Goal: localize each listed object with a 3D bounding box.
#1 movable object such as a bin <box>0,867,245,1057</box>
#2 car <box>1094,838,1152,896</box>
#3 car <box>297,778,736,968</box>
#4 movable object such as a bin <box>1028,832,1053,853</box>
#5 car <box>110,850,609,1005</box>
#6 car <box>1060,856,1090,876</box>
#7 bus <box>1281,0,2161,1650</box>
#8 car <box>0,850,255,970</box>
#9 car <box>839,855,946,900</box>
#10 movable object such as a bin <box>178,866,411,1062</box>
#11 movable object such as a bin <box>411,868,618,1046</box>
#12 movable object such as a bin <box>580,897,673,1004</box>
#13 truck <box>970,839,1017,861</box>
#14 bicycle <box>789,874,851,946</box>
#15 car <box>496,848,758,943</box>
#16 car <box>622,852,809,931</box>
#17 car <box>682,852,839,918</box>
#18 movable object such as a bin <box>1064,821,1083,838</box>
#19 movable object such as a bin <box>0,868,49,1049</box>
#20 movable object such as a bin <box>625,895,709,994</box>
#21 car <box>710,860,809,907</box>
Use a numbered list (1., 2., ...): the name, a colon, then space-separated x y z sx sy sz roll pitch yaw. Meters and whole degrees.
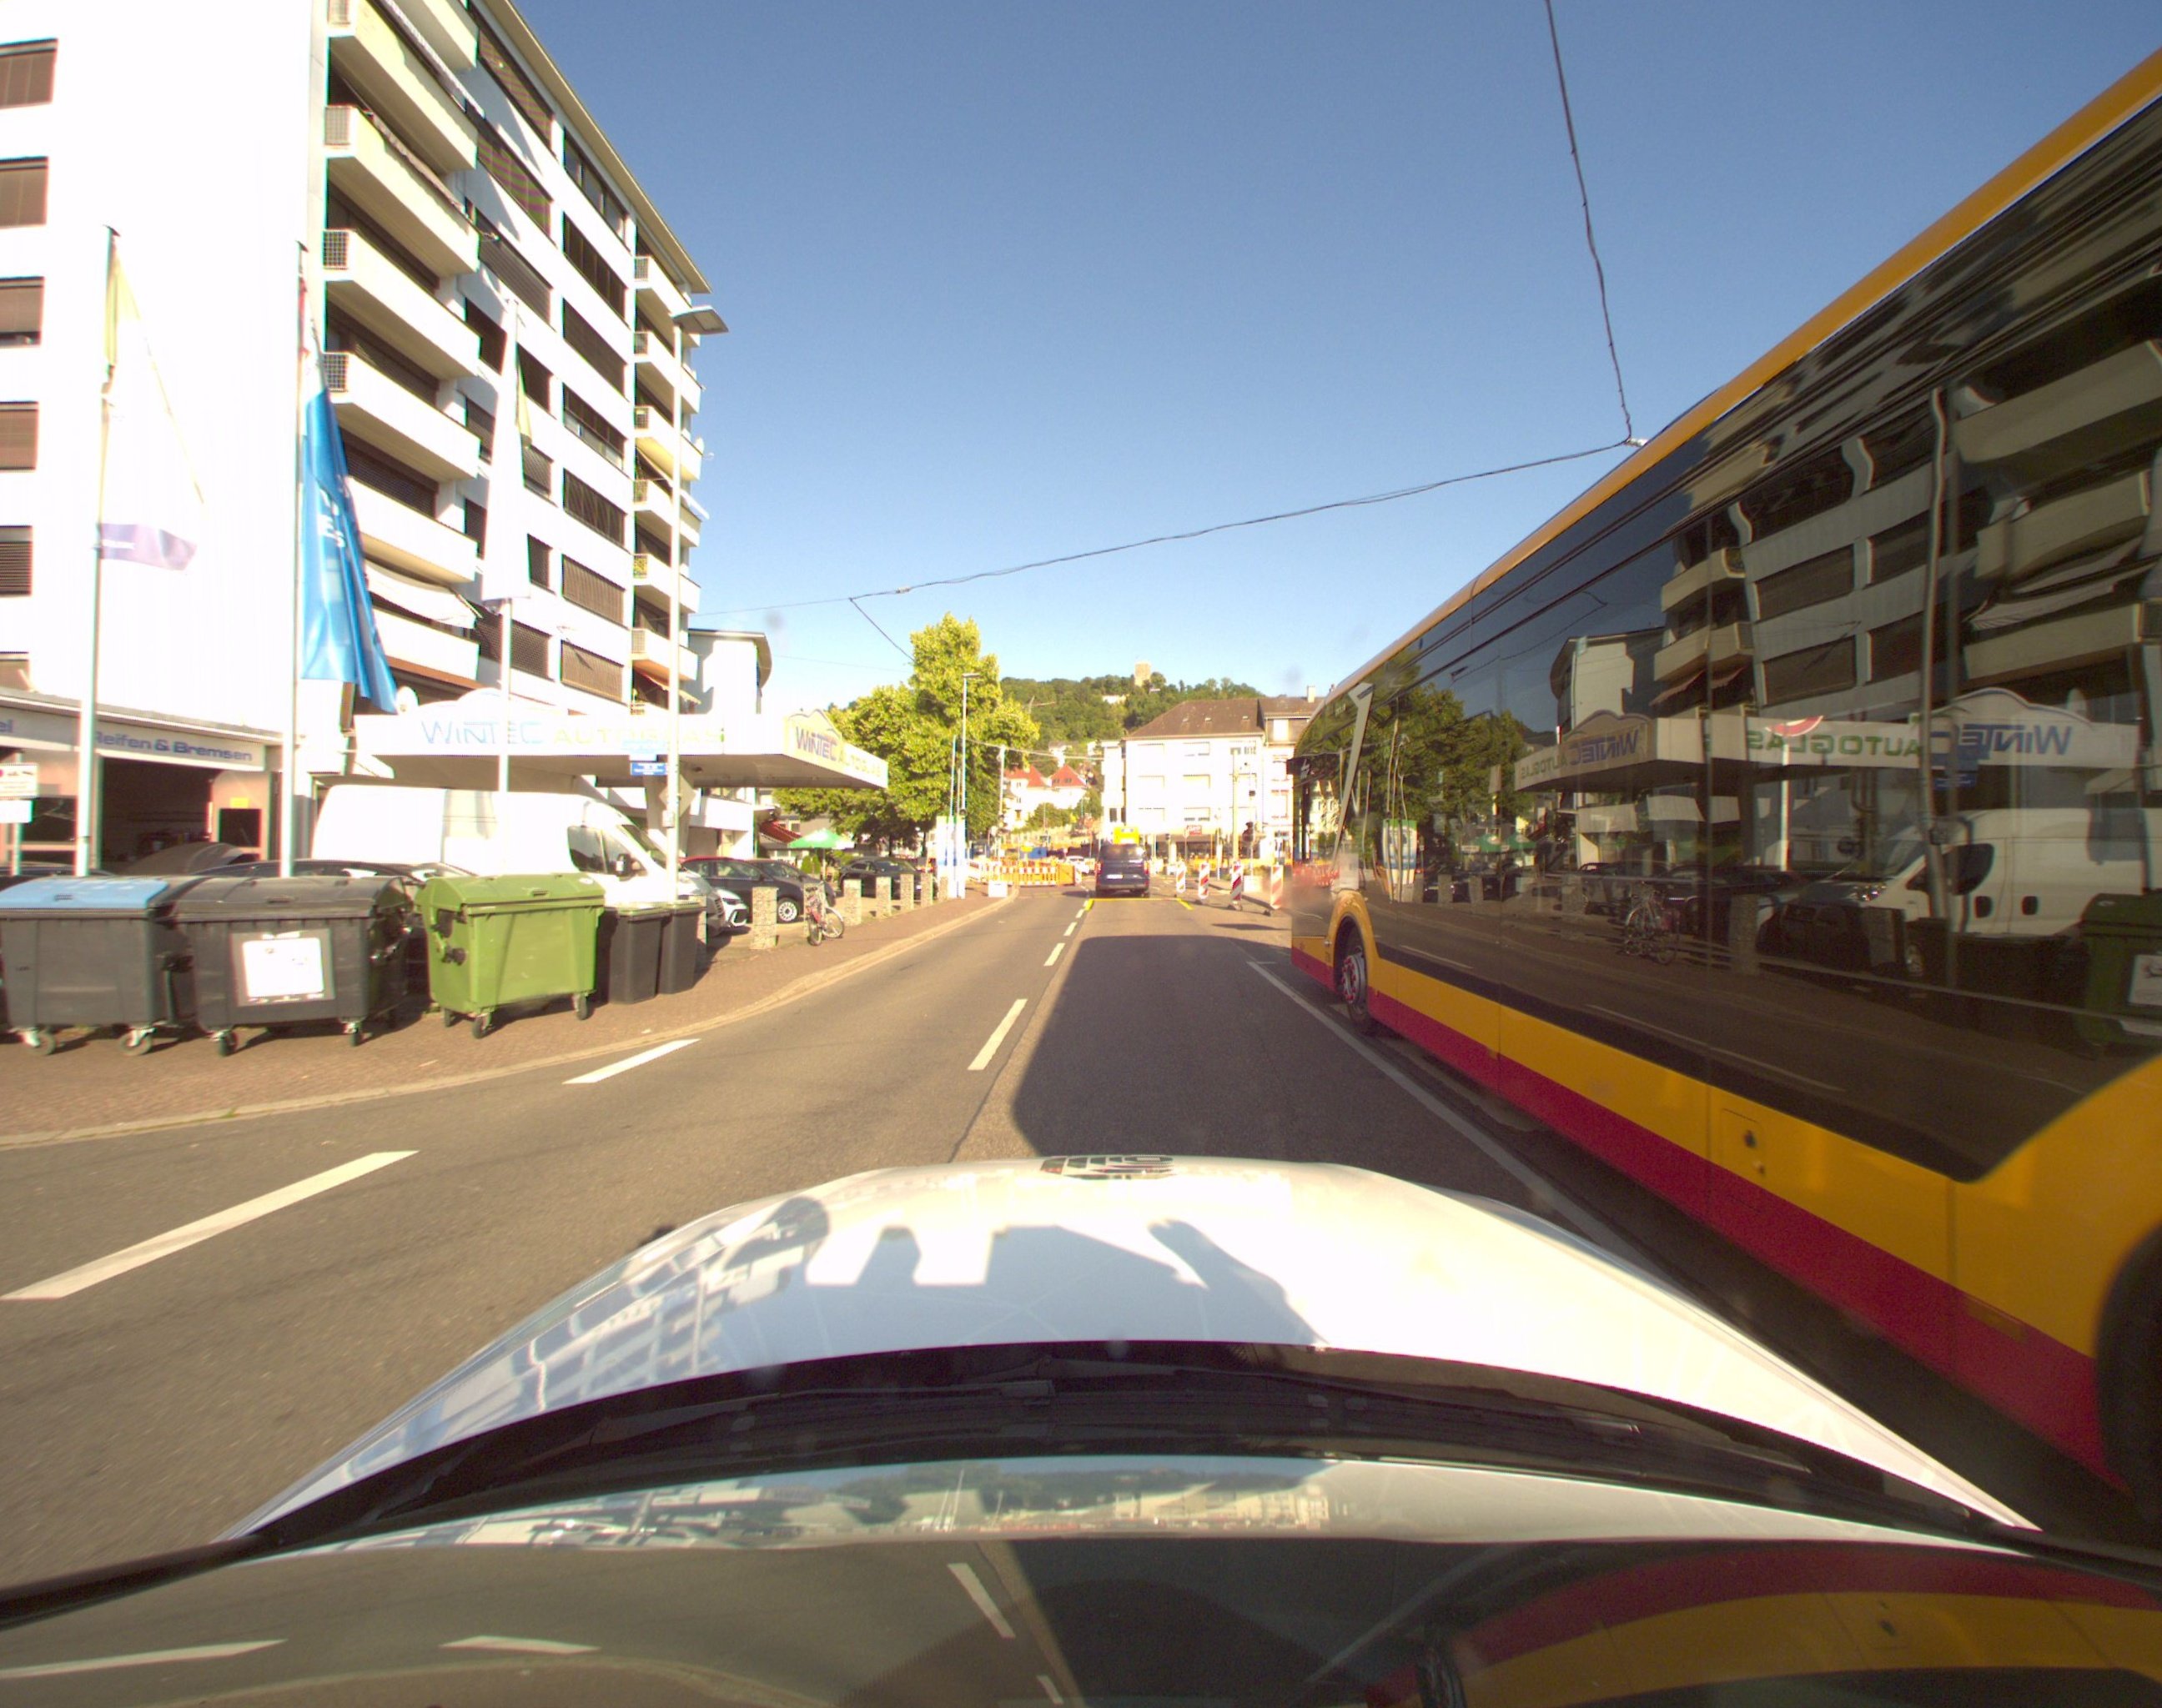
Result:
1. movable object such as a bin: -8.131 0.879 6.923 1.215 1.482 0.704 0 3 -2
2. car: 1.591 0.490 30.999 2.053 2.014 5.003 0 -1 3
3. car: -8.121 0.275 12.436 5.071 2.469 2.095 1 -1 -19
4. movable object such as a bin: -5.258 -1.482 105.779 2.175 2.690 4.015 0 0 14
5. car: -8.091 0.769 9.576 3.989 1.568 1.766 1 0 -12
6. car: -0.453 0.838 59.541 1.792 1.409 3.991 -1 0 -6
7. bus: 3.454 -0.232 3.738 2.677 3.416 12.027 0 0 3
8. car: -15.256 0.744 11.951 1.760 1.568 4.317 1 0 1
9. car: -6.864 0.798 29.383 1.921 1.454 4.262 1 0 -42
10. movable object such as a bin: -6.676 0.878 7.004 1.224 1.482 0.698 -2 3 -26
11. movable object such as a bin: -5.552 0.928 8.041 1.045 1.482 1.321 1 3 31
12. movable object such as a bin: -5.029 1.051 9.033 0.655 1.062 0.587 2 2 15
13. truck: -10.160 -0.480 95.445 2.339 2.416 9.188 0 0 15
14. bicycle: -4.662 0.967 14.653 0.722 1.178 1.777 0 -1 -6
15. car: -8.212 0.701 15.091 4.008 1.568 1.757 1 0 -27
16. car: -7.981 0.750 17.927 3.413 1.568 1.602 0 -1 -44
17. car: -8.211 0.741 21.048 1.601 1.568 3.414 -1 -1 41
18. movable object such as a bin: -1.279 -4.236 140.230 2.175 2.690 4.015 0 0 14
19. movable object such as a bin: -9.532 0.880 6.657 1.175 1.482 0.704 0 3 -2
20. movable object such as a bin: -4.882 1.051 9.627 0.635 1.069 0.582 0 3 15
21. car: -10.245 0.885 26.254 1.582 1.284 4.137 0 1 -1
